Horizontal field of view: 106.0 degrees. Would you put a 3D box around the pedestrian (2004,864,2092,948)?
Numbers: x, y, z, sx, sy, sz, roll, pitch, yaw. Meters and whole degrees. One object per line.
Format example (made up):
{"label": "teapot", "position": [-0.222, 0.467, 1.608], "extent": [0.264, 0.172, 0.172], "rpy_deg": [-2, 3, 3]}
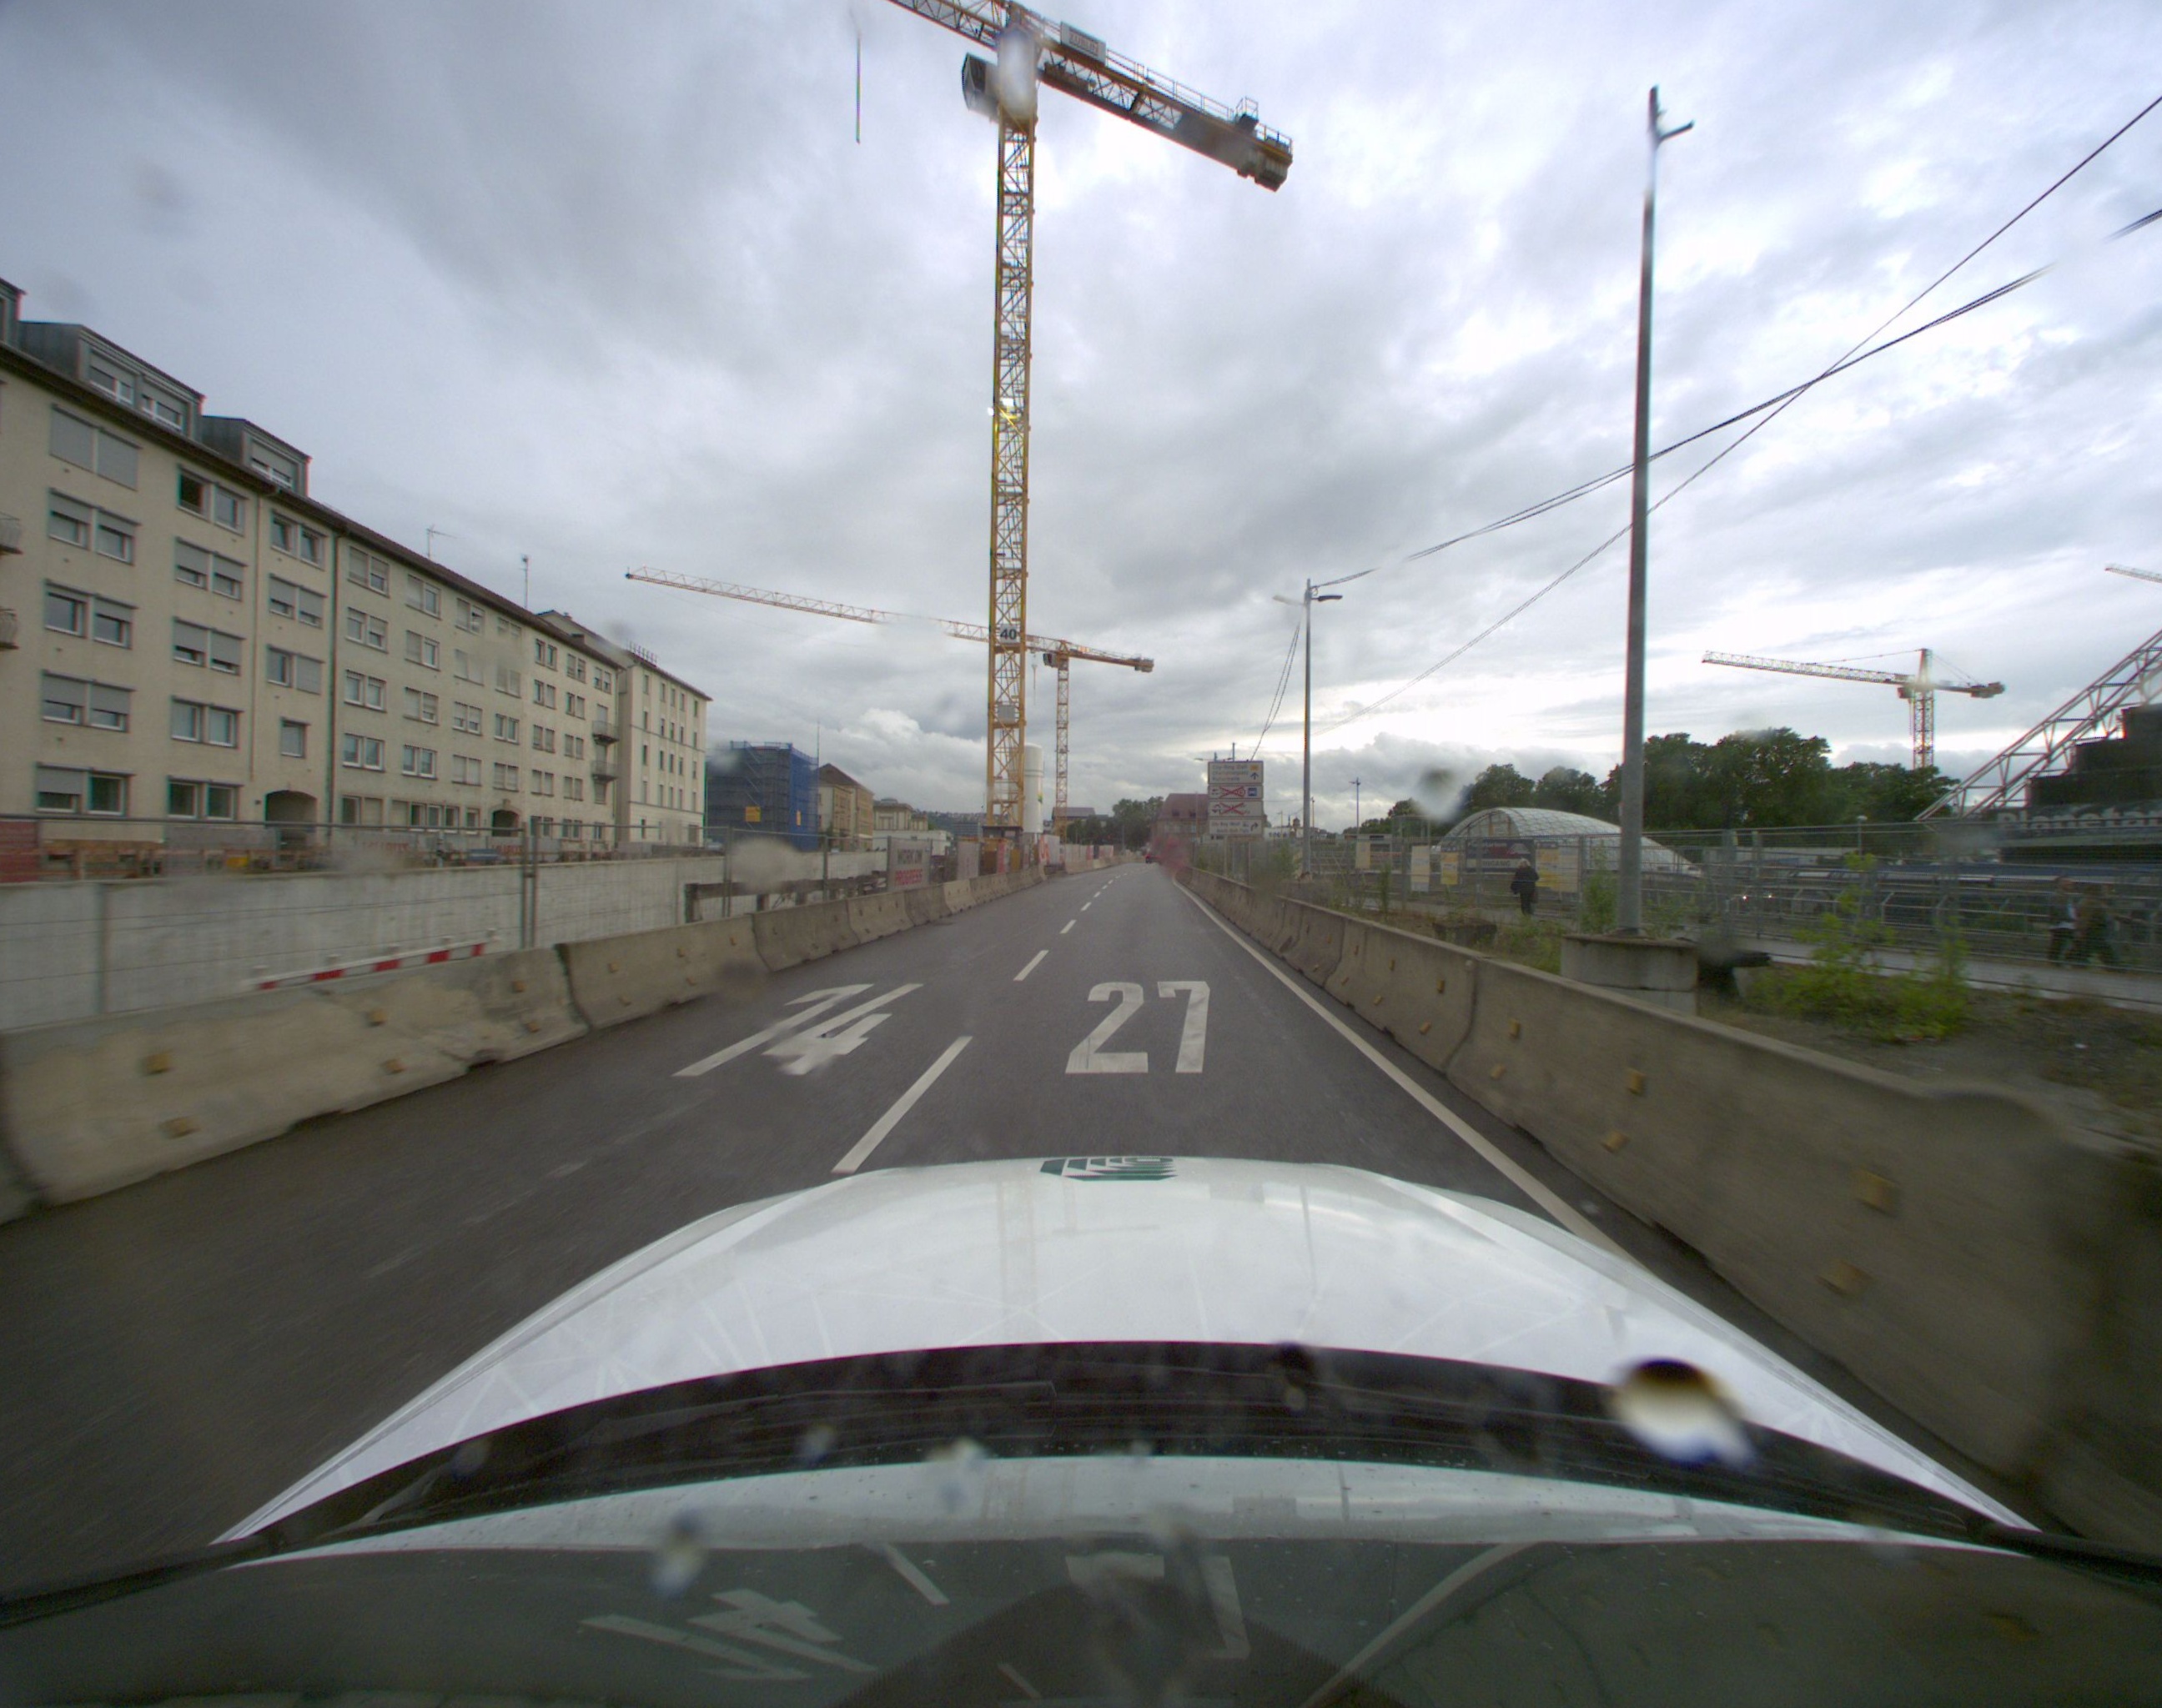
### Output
{"label": "pedestrian", "position": [17.704, 0.927, 14.922], "extent": [0.693, 1.472, 0.884], "rpy_deg": [0, -1, -28]}

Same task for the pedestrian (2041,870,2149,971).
{"label": "pedestrian", "position": [17.356, 1.103, 13.954], "extent": [0.693, 1.632, 1.013], "rpy_deg": [0, -1, -28]}

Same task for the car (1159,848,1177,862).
{"label": "car", "position": [9.281, 0.157, 87.255], "extent": [1.854, 1.433, 4.663], "rpy_deg": [1, -1, 5]}

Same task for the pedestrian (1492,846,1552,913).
{"label": "pedestrian", "position": [11.232, 0.645, 20.755], "extent": [1.025, 1.658, 0.892], "rpy_deg": [0, -1, -26]}

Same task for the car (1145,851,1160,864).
{"label": "car", "position": [9.379, 0.421, 106.251], "extent": [1.853, 1.660, 4.665], "rpy_deg": [0, 0, 7]}
